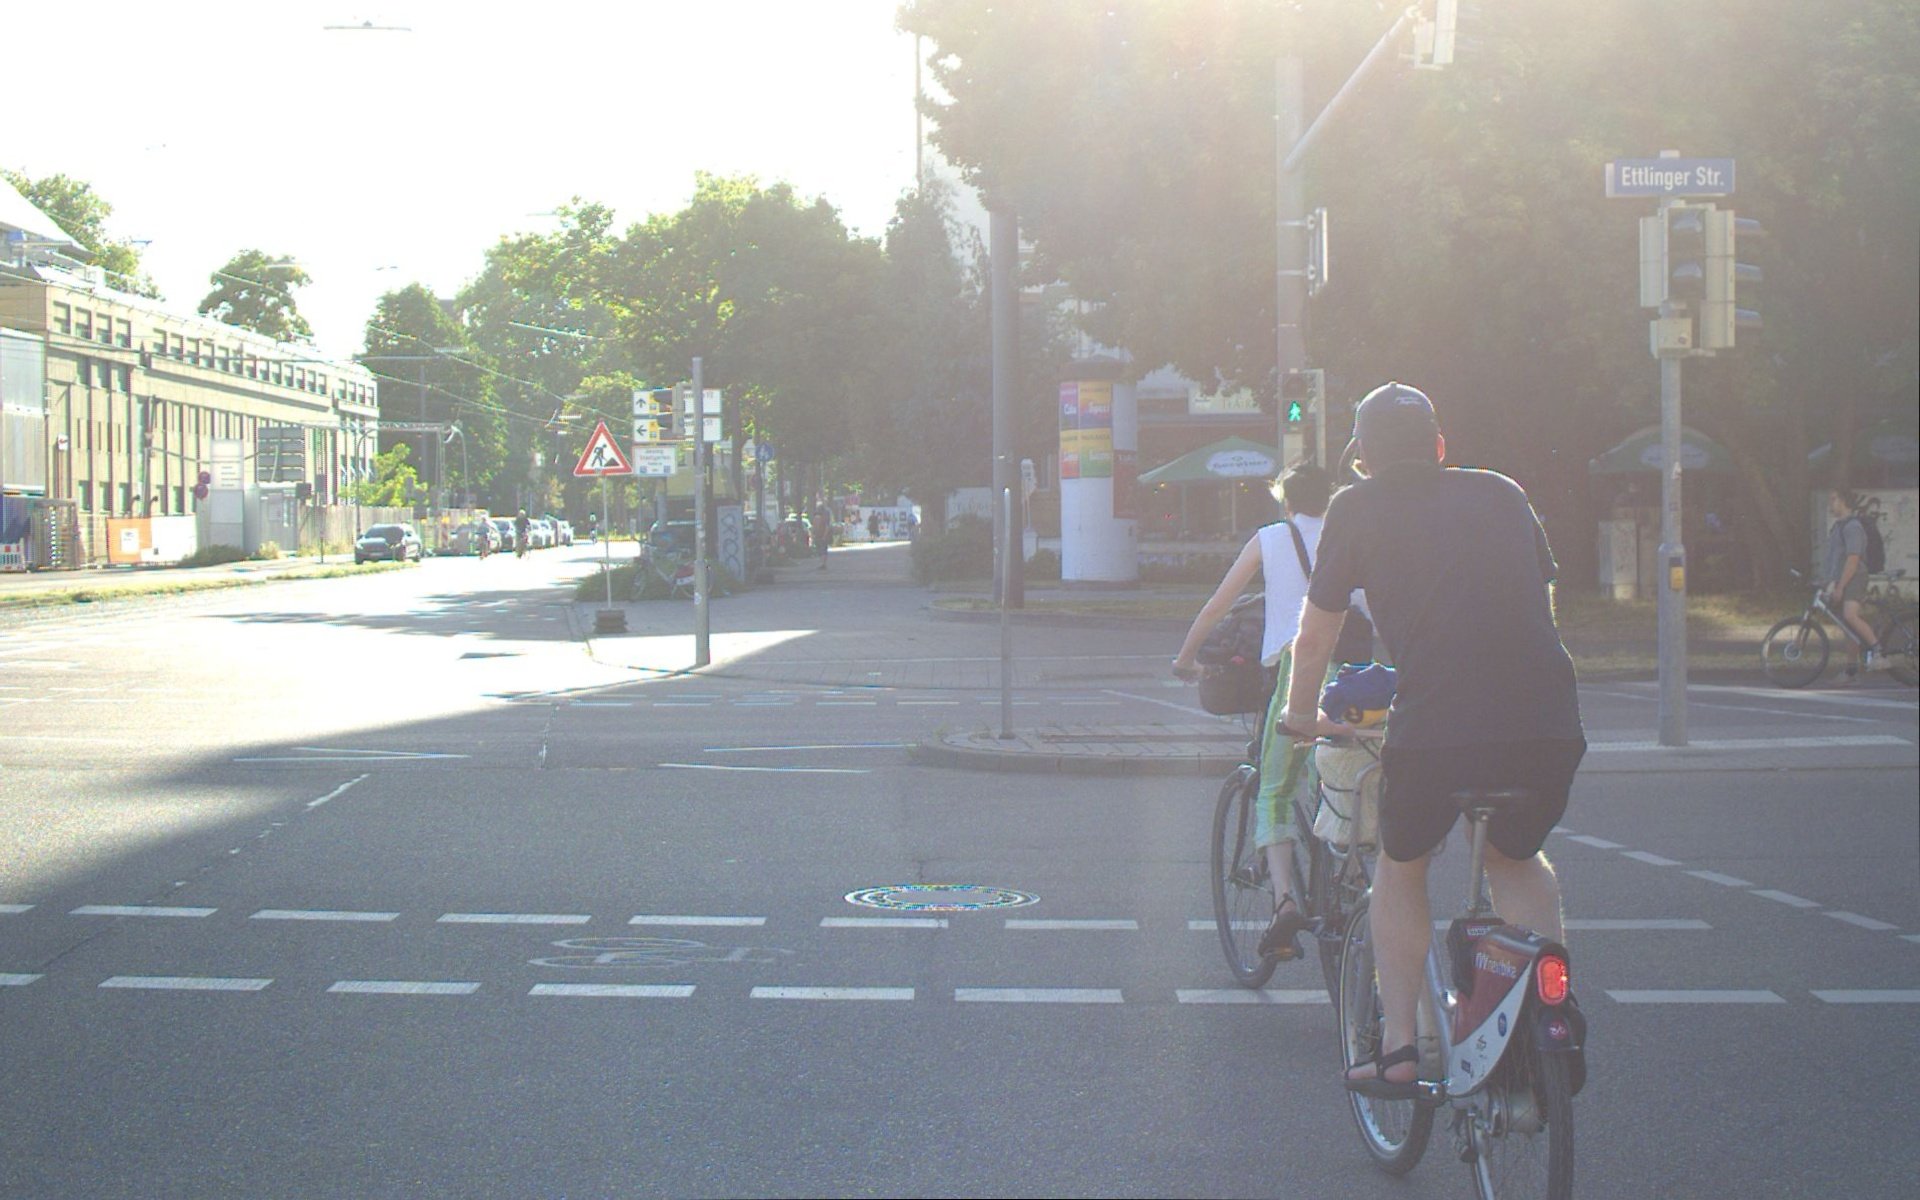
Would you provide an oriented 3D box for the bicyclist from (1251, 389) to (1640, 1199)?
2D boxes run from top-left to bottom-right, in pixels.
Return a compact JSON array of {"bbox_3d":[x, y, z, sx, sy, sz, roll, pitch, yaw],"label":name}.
[{"bbox_3d":[1.032,0.417,7.472,0.623,1.709,0.913,-1,1,-6],"label":"bicyclist"}]

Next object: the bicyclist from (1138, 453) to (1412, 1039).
[{"bbox_3d":[0.963,0.421,10.679,0.583,1.732,0.950,-1,1,-12],"label":"bicyclist"}]

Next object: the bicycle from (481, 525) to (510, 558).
[{"bbox_3d":[-17.428,-2.193,129.032,0.750,1.201,3.108,1,1,-2],"label":"bicycle"}]

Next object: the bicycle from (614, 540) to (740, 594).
[{"bbox_3d":[-5.086,-0.591,61.782,2.244,0.937,0.654,-1,1,-5],"label":"bicycle"}]

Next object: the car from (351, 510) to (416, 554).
[{"bbox_3d":[-21.841,-2.589,130.337,1.993,1.593,4.001,-1,1,-3],"label":"car"}]

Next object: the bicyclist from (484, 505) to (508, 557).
[{"bbox_3d":[-17.419,-2.579,129.061,0.750,1.913,1.215,1,1,-2],"label":"bicyclist"}]

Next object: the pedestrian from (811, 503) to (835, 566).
[{"bbox_3d":[-3.685,-1.752,92.207,0.576,1.683,0.585,-1,1,-8],"label":"pedestrian"}]

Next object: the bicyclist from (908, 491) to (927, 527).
[{"bbox_3d":[-2.399,-5.153,194.780,0.890,2.007,0.749,1,1,-12],"label":"bicyclist"}]

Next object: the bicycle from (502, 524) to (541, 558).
[{"bbox_3d":[-15.656,-2.109,122.861,0.751,1.201,3.107,1,1,5],"label":"bicycle"}]

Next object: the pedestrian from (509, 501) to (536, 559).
[{"bbox_3d":[-15.642,-2.506,122.921,0.751,2.056,1.050,1,1,5],"label":"pedestrian"}]

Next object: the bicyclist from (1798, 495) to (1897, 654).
[{"bbox_3d":[7.982,-0.233,30.938,0.747,1.401,0.702,1,1,6],"label":"bicyclist"}]

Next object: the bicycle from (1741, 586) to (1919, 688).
[{"bbox_3d":[8.065,0.330,30.940,1.944,0.886,0.718,1,1,6],"label":"bicycle"}]

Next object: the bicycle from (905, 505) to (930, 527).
[{"bbox_3d":[-2.433,-4.754,194.913,0.890,1.215,2.794,1,1,-12],"label":"bicycle"}]

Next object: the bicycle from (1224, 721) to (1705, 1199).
[{"bbox_3d":[1.042,0.835,7.496,0.623,1.040,1.747,-1,1,-6],"label":"bicycle"}]

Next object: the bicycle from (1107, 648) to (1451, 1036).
[{"bbox_3d":[0.955,0.704,10.718,0.582,1.040,1.747,-1,1,-11],"label":"bicycle"}]
